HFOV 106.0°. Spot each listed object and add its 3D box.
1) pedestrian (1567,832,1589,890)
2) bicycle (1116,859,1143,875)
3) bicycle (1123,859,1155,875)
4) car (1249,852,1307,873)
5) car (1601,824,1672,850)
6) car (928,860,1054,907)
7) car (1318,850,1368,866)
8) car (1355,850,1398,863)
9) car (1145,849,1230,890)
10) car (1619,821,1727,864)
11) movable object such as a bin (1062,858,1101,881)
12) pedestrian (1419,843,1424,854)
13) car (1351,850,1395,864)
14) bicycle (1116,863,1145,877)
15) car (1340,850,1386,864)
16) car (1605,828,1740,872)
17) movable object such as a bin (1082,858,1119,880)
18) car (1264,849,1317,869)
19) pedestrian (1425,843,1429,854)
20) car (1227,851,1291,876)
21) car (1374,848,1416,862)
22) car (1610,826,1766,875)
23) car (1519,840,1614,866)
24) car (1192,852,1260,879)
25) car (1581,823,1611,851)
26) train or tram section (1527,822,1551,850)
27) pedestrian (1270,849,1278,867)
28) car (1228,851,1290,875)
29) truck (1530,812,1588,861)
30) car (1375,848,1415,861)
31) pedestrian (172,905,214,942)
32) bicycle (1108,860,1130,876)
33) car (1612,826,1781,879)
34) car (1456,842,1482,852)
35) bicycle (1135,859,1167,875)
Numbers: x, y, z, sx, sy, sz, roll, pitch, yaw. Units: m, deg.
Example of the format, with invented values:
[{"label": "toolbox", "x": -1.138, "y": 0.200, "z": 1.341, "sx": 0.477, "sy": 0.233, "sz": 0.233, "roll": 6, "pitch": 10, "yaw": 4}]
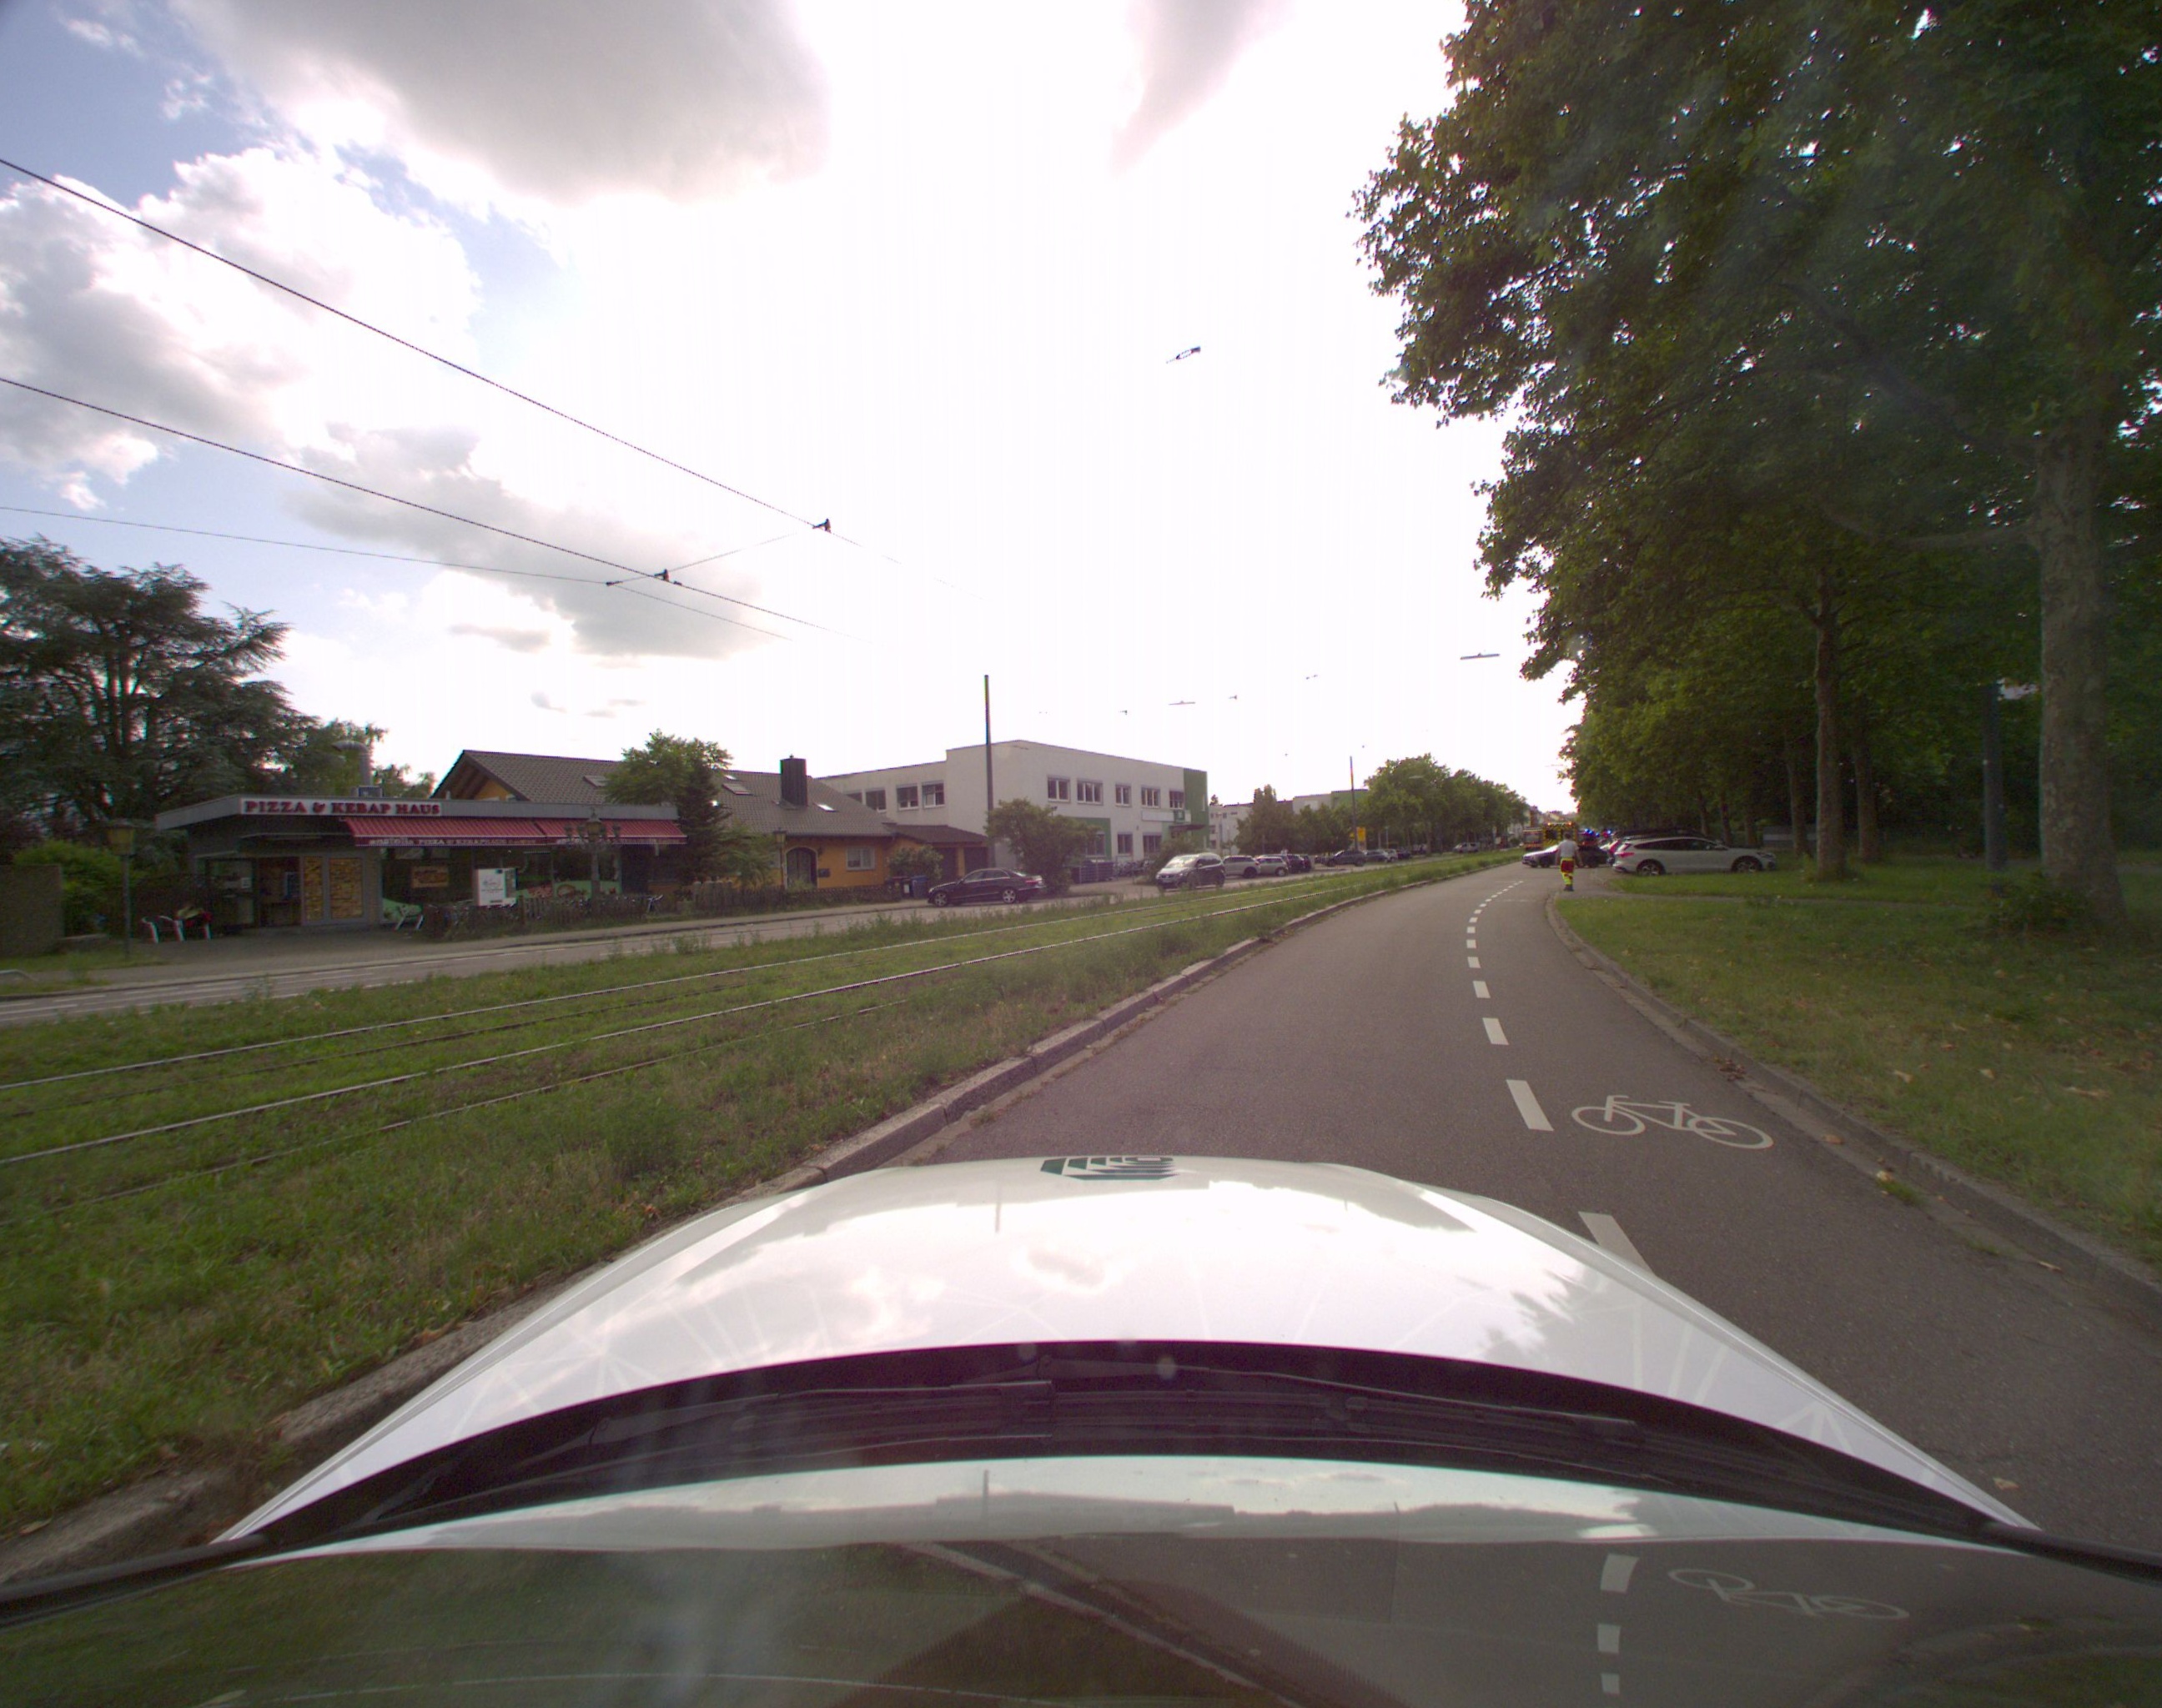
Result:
[{"label": "pedestrian", "x": 14.633, "y": 0.204, "z": 23.992, "sx": 0.488, "sy": 1.684, "sz": 0.591, "roll": -2, "pitch": -1, "yaw": 30}, {"label": "bicycle", "x": 3.477, "y": 0.953, "z": 58.424, "sx": 1.774, "sy": 1.081, "sz": 0.741, "roll": -3, "pitch": -1, "yaw": 31}, {"label": "bicycle", "x": 4.390, "y": 1.002, "z": 61.929, "sx": 2.321, "sy": 1.166, "sz": 0.765, "roll": -3, "pitch": -1, "yaw": 39}, {"label": "car", "x": 15.233, "y": 0.648, "z": 63.017, "sx": 4.136, "sy": 1.504, "sz": 1.863, "roll": -2, "pitch": 0, "yaw": 5}, {"label": "car", "x": 73.379, "y": -2.162, "z": 107.763, "sx": 7.365, "sy": 3.330, "sz": 2.993, "roll": 0, "pitch": 0, "yaw": 28}, {"label": "car", "x": -3.609, "y": 1.185, "z": 32.853, "sx": 4.533, "sy": 1.580, "sz": 2.007, "roll": -4, "pitch": -1, "yaw": 13}, {"label": "car", "x": 24.934, "y": 0.369, "z": 77.733, "sx": 4.275, "sy": 1.364, "sz": 1.907, "roll": -3, "pitch": 0, "yaw": 9}, {"label": "car", "x": 33.261, "y": 0.274, "z": 91.759, "sx": 4.273, "sy": 1.364, "sz": 1.908, "roll": -3, "pitch": 0, "yaw": 11}, {"label": "car", "x": 5.184, "y": 0.713, "z": 38.962, "sx": 1.974, "sy": 1.722, "sz": 4.771, "roll": -3, "pitch": 0, "yaw": 35}, {"label": "car", "x": 31.304, "y": -0.577, "z": 43.258, "sx": 4.497, "sy": 2.014, "sz": 2.013, "roll": -3, "pitch": -1, "yaw": 34}, {"label": "movable object such as a bin", "x": 0.030, "y": 0.968, "z": 50.995, "sx": 1.358, "sy": 1.326, "sz": 2.131, "roll": -3, "pitch": -1, "yaw": 37}, {"label": "pedestrian", "x": 57.095, "y": -0.933, "z": 136.637, "sx": 0.614, "sy": 1.729, "sz": 0.650, "roll": -1, "pitch": 0, "yaw": 33}, {"label": "car", "x": 32.030, "y": 0.289, "z": 89.453, "sx": 4.273, "sy": 1.364, "sz": 1.908, "roll": -3, "pitch": 0, "yaw": 11}, {"label": "bicycle", "x": 3.704, "y": 1.207, "z": 61.284, "sx": 2.131, "sy": 0.970, "sz": 0.735, "roll": -3, "pitch": -1, "yaw": 37}, {"label": "car", "x": 30.015, "y": 0.313, "z": 86.775, "sx": 4.273, "sy": 1.364, "sz": 1.908, "roll": -3, "pitch": 0, "yaw": 11}, {"label": "car", "x": 25.458, "y": -0.141, "z": 35.272, "sx": 4.484, "sy": 1.644, "sz": 2.012, "roll": -3, "pitch": -2, "yaw": 31}, {"label": "movable object such as a bin", "x": 1.288, "y": 0.954, "z": 52.806, "sx": 1.358, "sy": 1.326, "sz": 2.145, "roll": -3, "pitch": -1, "yaw": 37}, {"label": "car", "x": 17.646, "y": 0.424, "z": 68.738, "sx": 4.130, "sy": 1.504, "sz": 1.866, "roll": -2, "pitch": 0, "yaw": 11}, {"label": "pedestrian", "x": 58.308, "y": -0.943, "z": 137.178, "sx": 0.614, "sy": 1.729, "sz": 0.650, "roll": -1, "pitch": 0, "yaw": 33}, {"label": "car", "x": 12.645, "y": 0.680, "z": 58.038, "sx": 4.280, "sy": 1.629, "sz": 1.905, "roll": -2, "pitch": 0, "yaw": 5}, {"label": "car", "x": 36.384, "y": 0.095, "z": 94.471, "sx": 4.273, "sy": 1.364, "sz": 1.908, "roll": -3, "pitch": 0, "yaw": 11}, {"label": "car", "x": 22.757, "y": -0.091, "z": 30.809, "sx": 4.484, "sy": 1.644, "sz": 2.012, "roll": -3, "pitch": -2, "yaw": 31}, {"label": "car", "x": 29.173, "y": -0.042, "z": 49.061, "sx": 4.562, "sy": 1.393, "sz": 1.846, "roll": -2, "pitch": 0, "yaw": 10}, {"label": "car", "x": 9.832, "y": 0.787, "z": 55.519, "sx": 4.287, "sy": 1.629, "sz": 1.902, "roll": -2, "pitch": -1, "yaw": 0}, {"label": "car", "x": 62.522, "y": -2.016, "z": 98.911, "sx": 2.937, "sy": 3.330, "sz": 7.506, "roll": 0, "pitch": 0, "yaw": 31}, {"label": "train or tram section", "x": 62.645, "y": -2.441, "z": 111.536, "sx": 2.464, "sy": 3.596, "sz": 7.466, "roll": -3, "pitch": 0, "yaw": 27}, {"label": "pedestrian", "x": 18.163, "y": 0.349, "z": 76.785, "sx": 0.590, "sy": 1.674, "sz": 0.544, "roll": -3, "pitch": -1, "yaw": 24}, {"label": "car", "x": 13.210, "y": 0.650, "z": 60.609, "sx": 4.280, "sy": 1.629, "sz": 1.905, "roll": -2, "pitch": 0, "yaw": 5}, {"label": "truck", "x": 36.043, "y": -1.318, "z": 61.230, "sx": 3.152, "sy": 3.317, "sz": 7.571, "roll": -3, "pitch": -1, "yaw": 34}, {"label": "car", "x": 38.108, "y": 0.072, "z": 98.864, "sx": 4.273, "sy": 1.364, "sz": 1.908, "roll": -3, "pitch": 0, "yaw": 11}, {"label": "pedestrian", "x": -24.738, "y": 1.934, "z": 22.699, "sx": 0.767, "sy": 0.929, "sz": 0.732, "roll": 0, "pitch": 0, "yaw": 38}, {"label": "bicycle", "x": 2.797, "y": 1.049, "z": 60.030, "sx": 0.709, "sy": 1.166, "sz": 1.602, "roll": -2, "pitch": -1, "yaw": -40}, {"label": "car", "x": 21.390, "y": -0.012, "z": 28.595, "sx": 4.484, "sy": 1.644, "sz": 2.012, "roll": -3, "pitch": -2, "yaw": 31}, {"label": "car", "x": 72.876, "y": -1.255, "z": 153.051, "sx": 3.972, "sy": 1.838, "sz": 1.822, "roll": 0, "pitch": 0, "yaw": 1}, {"label": "bicycle", "x": 5.380, "y": 0.997, "z": 62.656, "sx": 2.387, "sy": 1.166, "sz": 0.753, "roll": -3, "pitch": -1, "yaw": 40}]
